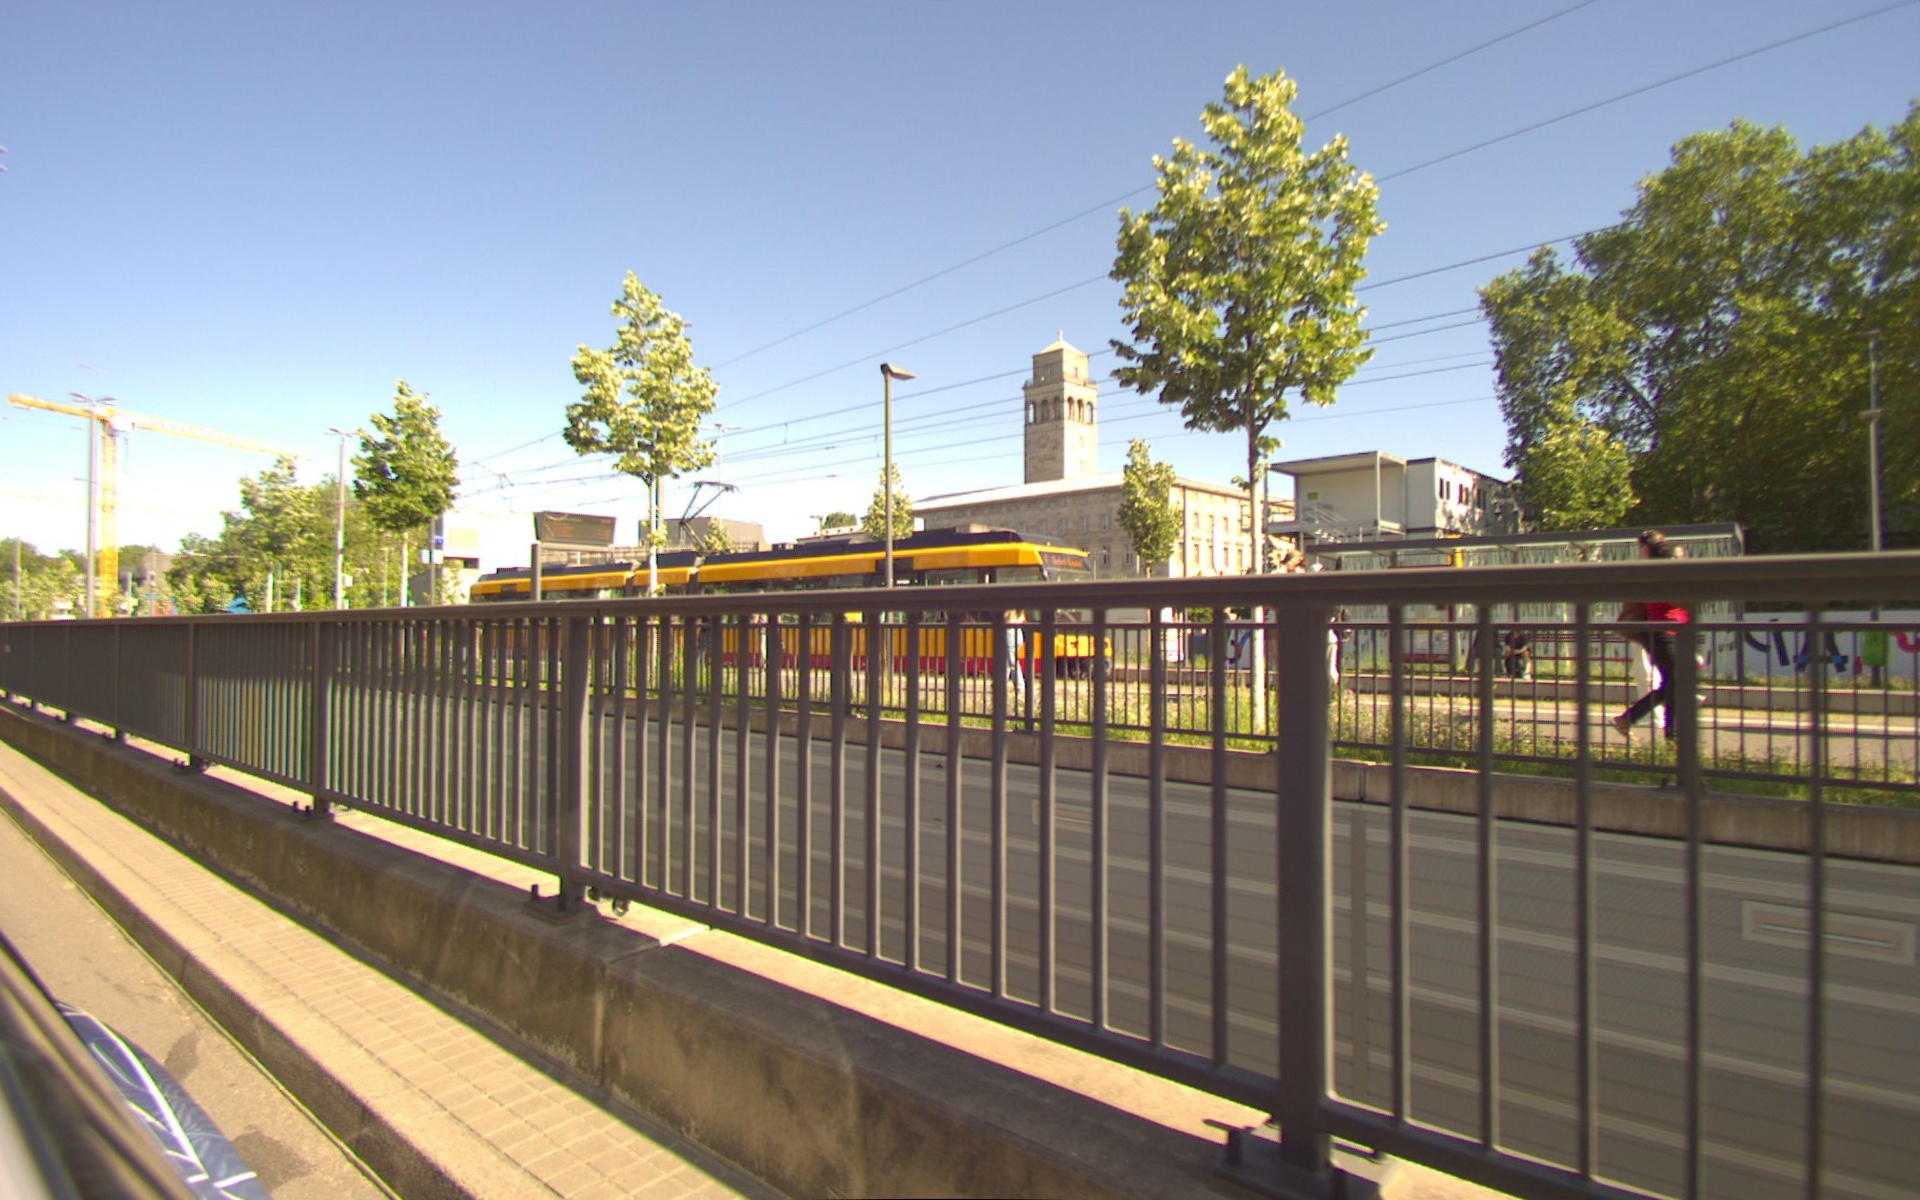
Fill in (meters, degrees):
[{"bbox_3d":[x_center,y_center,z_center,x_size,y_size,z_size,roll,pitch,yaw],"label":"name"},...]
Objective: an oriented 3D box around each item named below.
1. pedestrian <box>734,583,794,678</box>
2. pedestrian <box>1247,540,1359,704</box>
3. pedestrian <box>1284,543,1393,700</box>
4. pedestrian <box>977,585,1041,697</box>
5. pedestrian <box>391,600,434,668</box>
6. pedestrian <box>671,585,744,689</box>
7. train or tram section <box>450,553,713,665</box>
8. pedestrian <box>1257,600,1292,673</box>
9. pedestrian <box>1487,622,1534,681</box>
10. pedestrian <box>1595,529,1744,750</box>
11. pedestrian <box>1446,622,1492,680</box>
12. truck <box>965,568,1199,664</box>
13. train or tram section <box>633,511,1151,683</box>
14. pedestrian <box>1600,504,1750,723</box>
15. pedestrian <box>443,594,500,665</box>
[{"bbox_3d":[-3.823,0.592,19.726,0.825,1.788,0.754,-3,-1,38],"label":"pedestrian"},{"bbox_3d":[4.020,0.257,11.883,1.030,1.824,0.761,-2,-3,41],"label":"pedestrian"},{"bbox_3d":[4.612,0.264,12.349,1.074,1.824,0.665,-2,-3,41],"label":"pedestrian"},{"bbox_3d":[0.690,0.569,14.196,0.587,1.524,0.641,-3,-1,38],"label":"pedestrian"},{"bbox_3d":[-14.800,0.920,27.358,0.958,1.788,0.696,-3,-1,38],"label":"pedestrian"},{"bbox_3d":[-4.511,0.649,18.080,0.977,1.788,0.783,-3,-1,38],"label":"pedestrian"},{"bbox_3d":[-13.758,0.405,35.645,13.066,3.335,2.840,-2,-1,41],"label":"train or tram section"},{"bbox_3d":[7.092,0.820,22.850,0.590,1.605,0.525,-2,-2,39],"label":"pedestrian"},{"bbox_3d":[10.769,0.998,19.802,0.682,1.138,0.649,-2,-2,39],"label":"pedestrian"},{"bbox_3d":[5.662,0.307,8.079,0.861,1.641,0.733,-2,-2,42],"label":"pedestrian"},{"bbox_3d":[10.202,1.010,20.281,0.682,1.138,0.649,-2,-2,39],"label":"pedestrian"},{"bbox_3d":[4.059,0.567,35.254,7.949,2.992,2.690,-2,0,41],"label":"truck"},{"bbox_3d":[-2.827,0.072,26.043,15.958,3.346,2.818,-2,0,41],"label":"train or tram section"},{"bbox_3d":[6.558,0.128,9.287,1.007,1.865,0.877,-2,-2,41],"label":"pedestrian"},{"bbox_3d":[-12.556,0.758,25.991,1.187,1.788,0.865,-3,-1,38],"label":"pedestrian"}]
